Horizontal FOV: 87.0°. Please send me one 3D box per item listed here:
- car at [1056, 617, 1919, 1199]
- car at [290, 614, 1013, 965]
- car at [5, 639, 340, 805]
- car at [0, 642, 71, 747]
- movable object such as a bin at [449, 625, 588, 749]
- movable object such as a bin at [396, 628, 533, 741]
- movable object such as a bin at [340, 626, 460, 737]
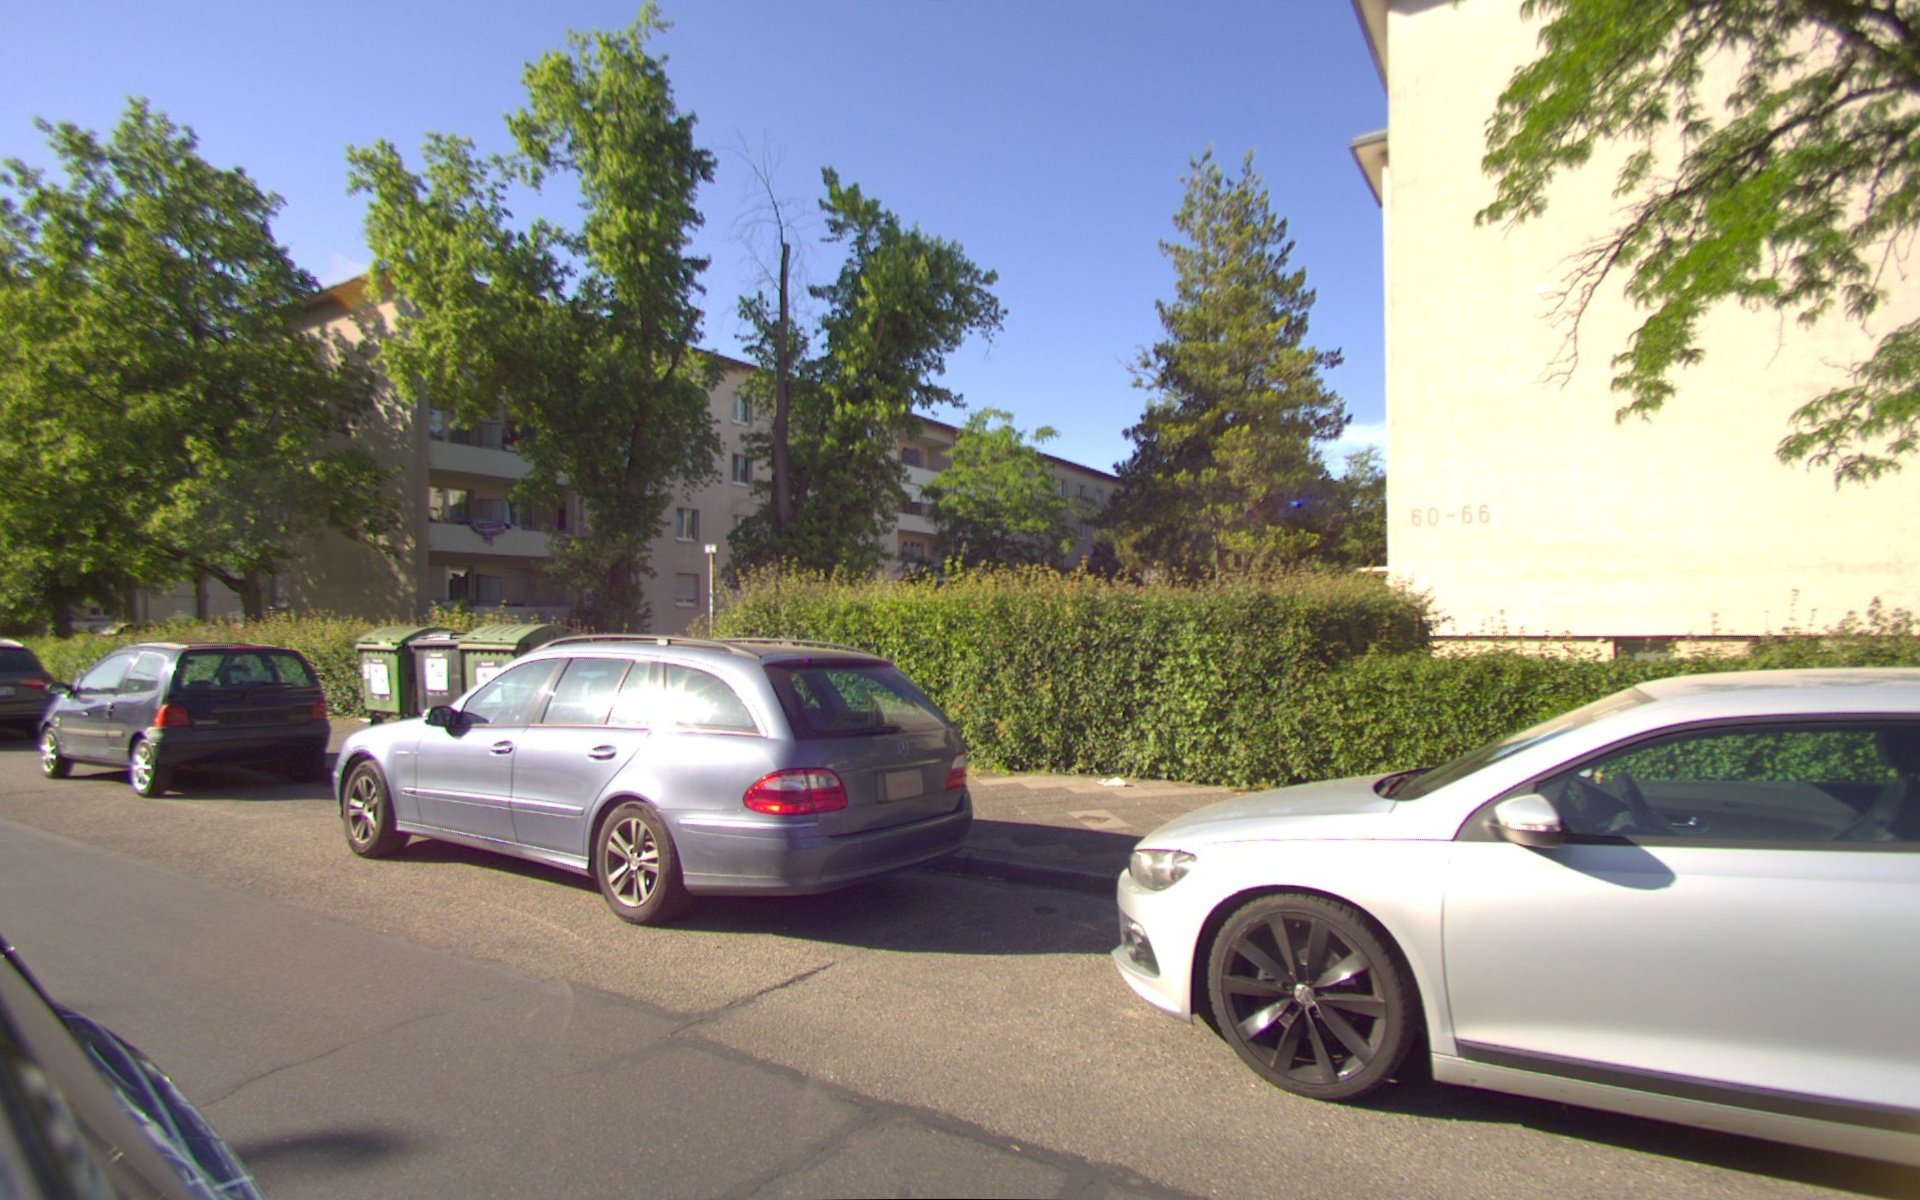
[{"bbox_3d":[2.556,0.806,3.095,4.199,1.436,1.739,-1,-4,34],"label":"car"},{"bbox_3d":[-2.189,0.959,6.484,4.887,1.501,1.739,-3,-5,34],"label":"car"},{"bbox_3d":[-8.306,1.167,10.636,3.483,1.475,1.636,-2,-3,31],"label":"car"},{"bbox_3d":[-14.952,1.300,14.691,4.658,1.396,1.741,-1,-3,31],"label":"car"},{"bbox_3d":[-5.580,1.057,12.811,1.321,1.425,0.995,-2,1,30],"label":"movable object such as a bin"},{"bbox_3d":[-6.668,1.105,13.642,1.252,1.376,1.111,-2,1,30],"label":"movable object such as a bin"},{"bbox_3d":[-7.856,1.112,14.210,1.321,1.425,0.888,-2,1,30],"label":"movable object such as a bin"}]
